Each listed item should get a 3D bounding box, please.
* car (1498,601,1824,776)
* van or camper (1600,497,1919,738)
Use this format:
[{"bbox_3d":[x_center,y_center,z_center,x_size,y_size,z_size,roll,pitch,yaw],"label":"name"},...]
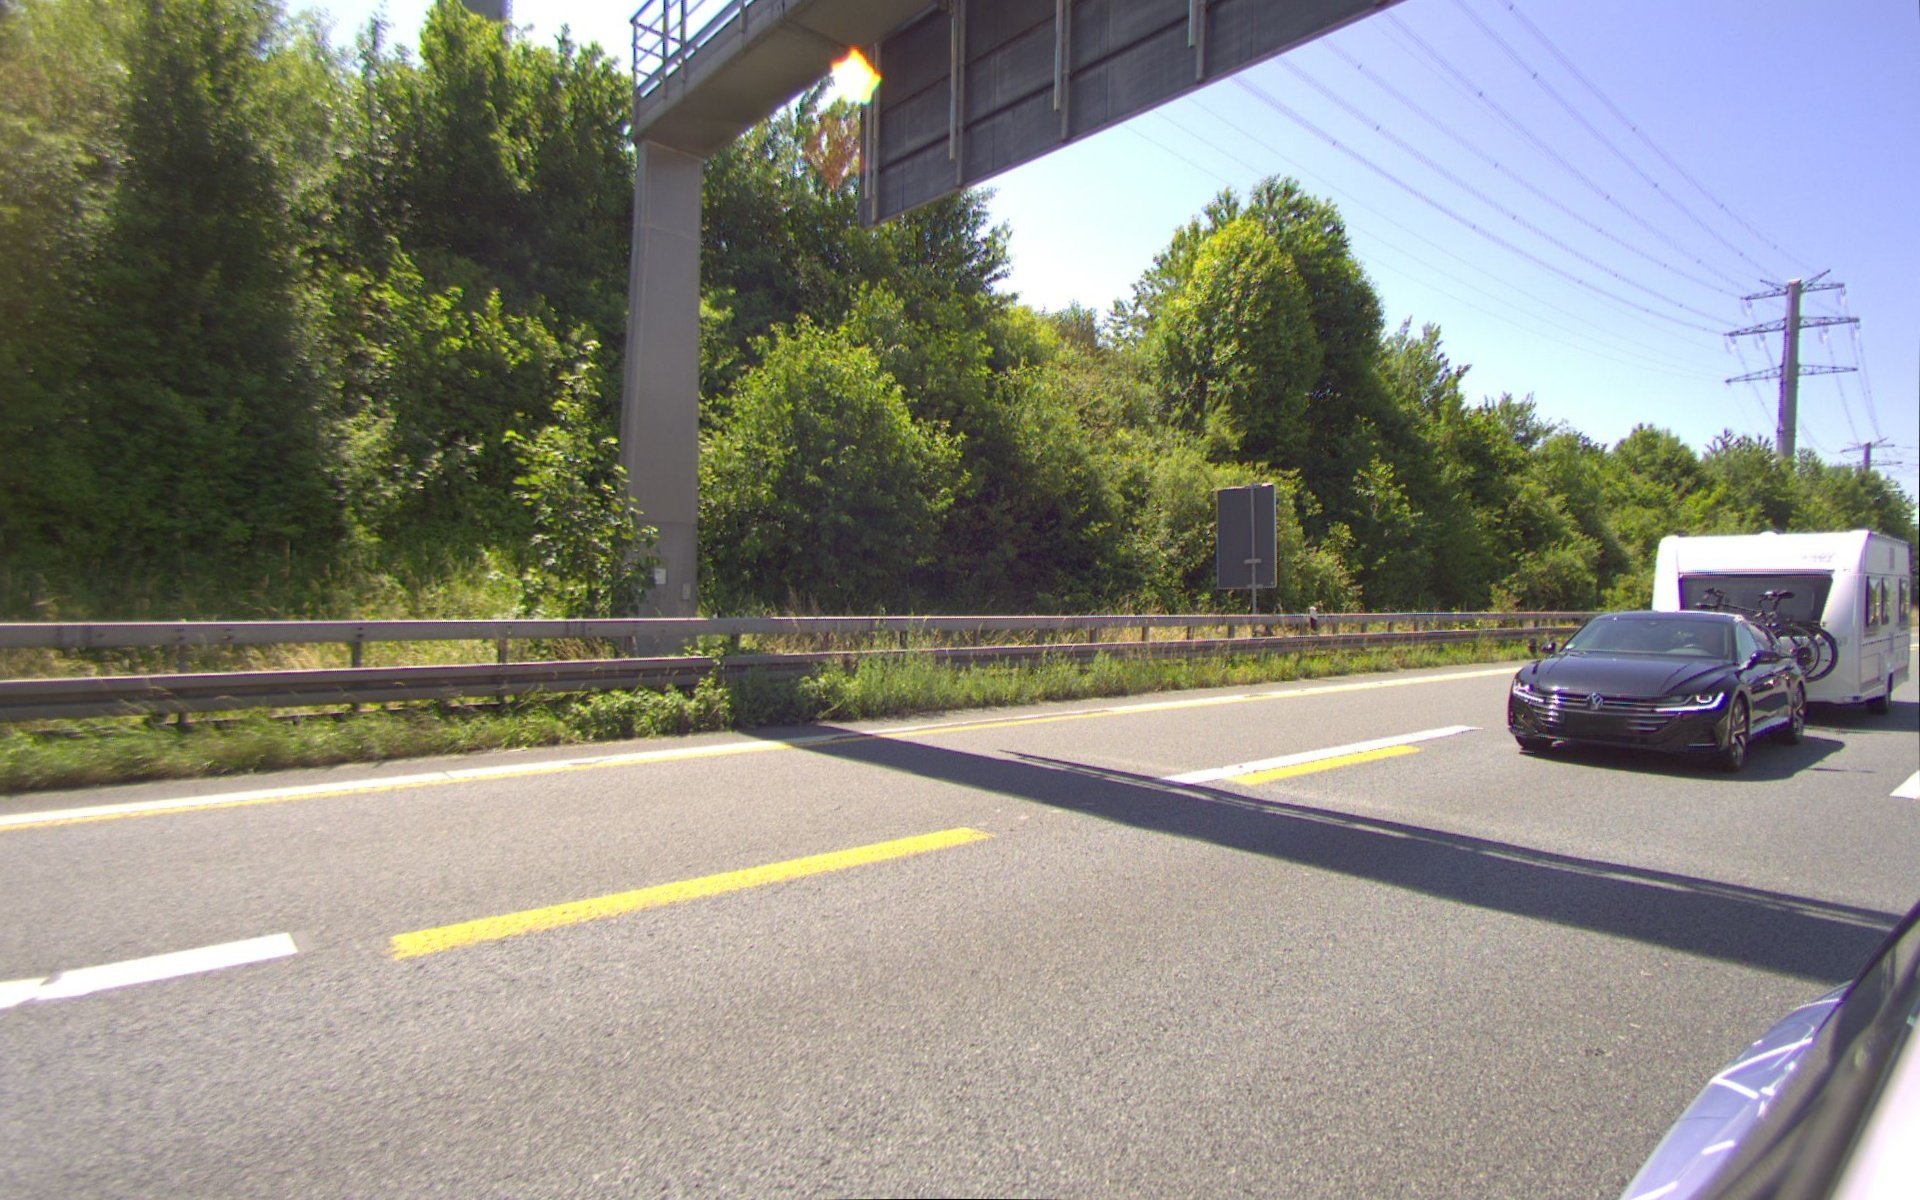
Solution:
[{"bbox_3d":[7.314,0.739,10.403,4.136,1.425,1.799,0,0,-41],"label":"car"},{"bbox_3d":[11.982,0.188,14.570,8.270,2.597,2.430,0,0,-41],"label":"van or camper"}]
